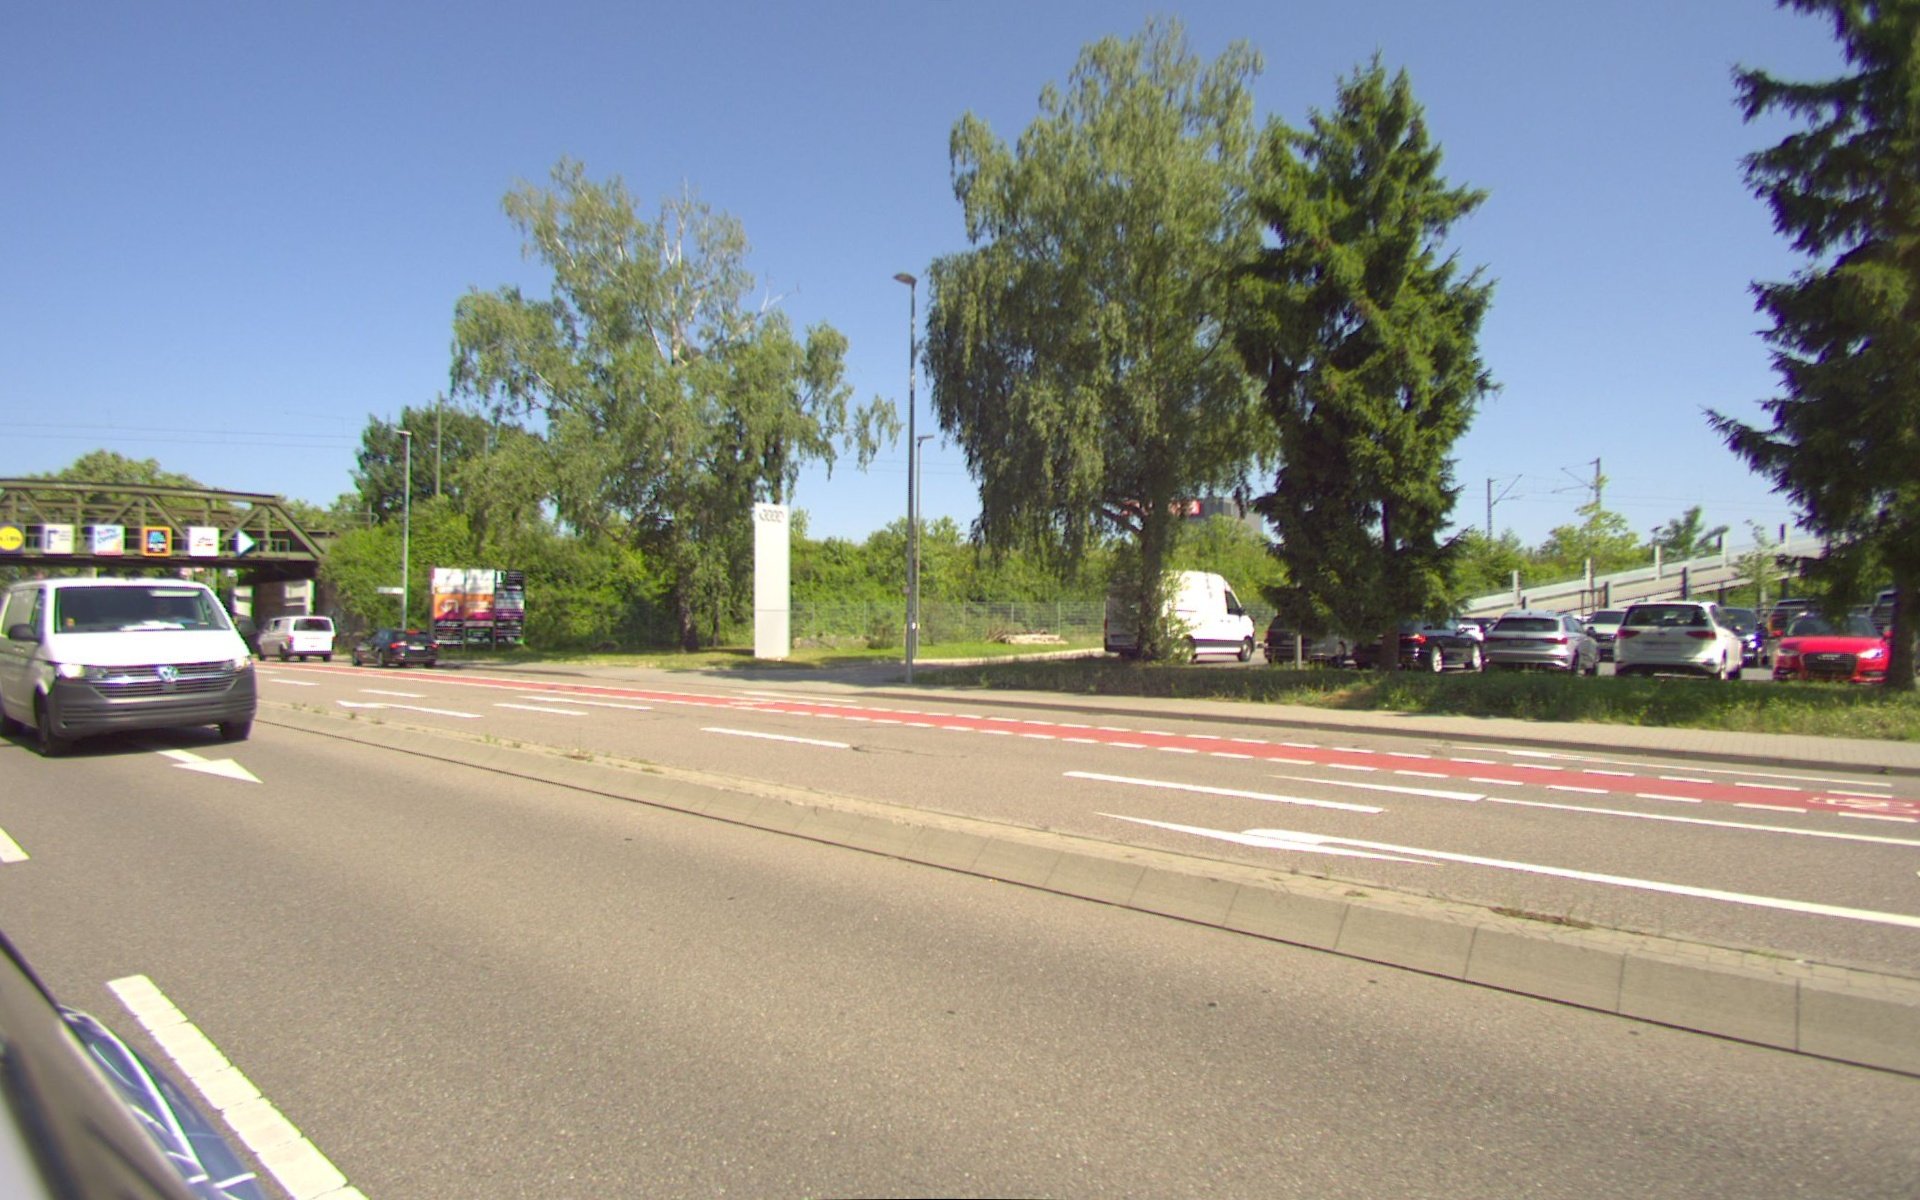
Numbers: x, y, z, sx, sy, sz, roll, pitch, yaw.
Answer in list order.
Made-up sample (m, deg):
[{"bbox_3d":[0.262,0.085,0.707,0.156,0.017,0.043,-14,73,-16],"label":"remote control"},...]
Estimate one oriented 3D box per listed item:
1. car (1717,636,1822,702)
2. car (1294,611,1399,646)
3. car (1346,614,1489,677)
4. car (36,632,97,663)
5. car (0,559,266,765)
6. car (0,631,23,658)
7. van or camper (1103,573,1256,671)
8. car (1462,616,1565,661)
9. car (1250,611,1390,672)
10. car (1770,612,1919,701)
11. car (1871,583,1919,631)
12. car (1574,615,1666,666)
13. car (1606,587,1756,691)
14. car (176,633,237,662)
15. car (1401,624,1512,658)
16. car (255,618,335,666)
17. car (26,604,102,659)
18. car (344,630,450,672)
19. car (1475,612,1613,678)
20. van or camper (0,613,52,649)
[{"bbox_3d":[22.451,1.840,28.017,1.954,1.655,4.219,-2,-2,43],"label":"car"},{"bbox_3d":[17.013,1.276,44.831,1.966,1.453,4.563,1,-2,-16],"label":"car"},{"bbox_3d":[10.960,1.052,24.144,4.039,1.364,1.745,2,-2,-44],"label":"car"},{"bbox_3d":[-44.922,2.423,50.841,4.175,1.506,1.750,-3,-5,41],"label":"car"},{"bbox_3d":[-10.262,0.683,12.234,4.971,2.009,1.862,-2,-3,41],"label":"car"},{"bbox_3d":[-60.645,2.778,63.735,4.949,1.694,1.972,-2,-3,42],"label":"car"},{"bbox_3d":[6.302,0.563,28.574,1.998,2.489,5.326,-3,-1,38],"label":"van or camper"},{"bbox_3d":[17.734,1.218,32.361,4.039,1.364,1.745,2,-3,-44],"label":"car"},{"bbox_3d":[9.266,1.041,25.898,4.039,1.449,1.745,2,-3,-44],"label":"car"},{"bbox_3d":[17.035,1.026,19.466,1.954,1.515,4.219,-2,-2,43],"label":"car"},{"bbox_3d":[28.616,0.234,30.275,1.953,1.361,4.221,-2,-2,41],"label":"car"},{"bbox_3d":[19.894,1.198,30.427,1.743,1.449,4.044,-2,-3,41],"label":"car"},{"bbox_3d":[14.794,0.772,20.679,1.954,1.899,4.219,-2,-2,43],"label":"car"},{"bbox_3d":[-40.340,2.567,54.129,4.175,1.506,1.750,-3,-5,41],"label":"car"},{"bbox_3d":[22.391,1.834,45.878,1.966,1.453,4.563,1,-2,-16],"label":"car"},{"bbox_3d":[-29.801,1.884,45.280,1.970,2.029,5.350,2,-3,-44],"label":"car"},{"bbox_3d":[-49.677,1.780,56.057,6.931,2.827,1.973,-2,-5,40],"label":"car"},{"bbox_3d":[-20.616,1.809,36.967,4.680,1.424,1.972,-2,-3,42],"label":"car"},{"bbox_3d":[12.807,0.943,22.092,1.744,1.303,4.042,-2,-2,43],"label":"car"},{"bbox_3d":[-89.574,2.959,95.197,2.595,3.179,5.711,-3,-1,36],"label":"van or camper"}]
